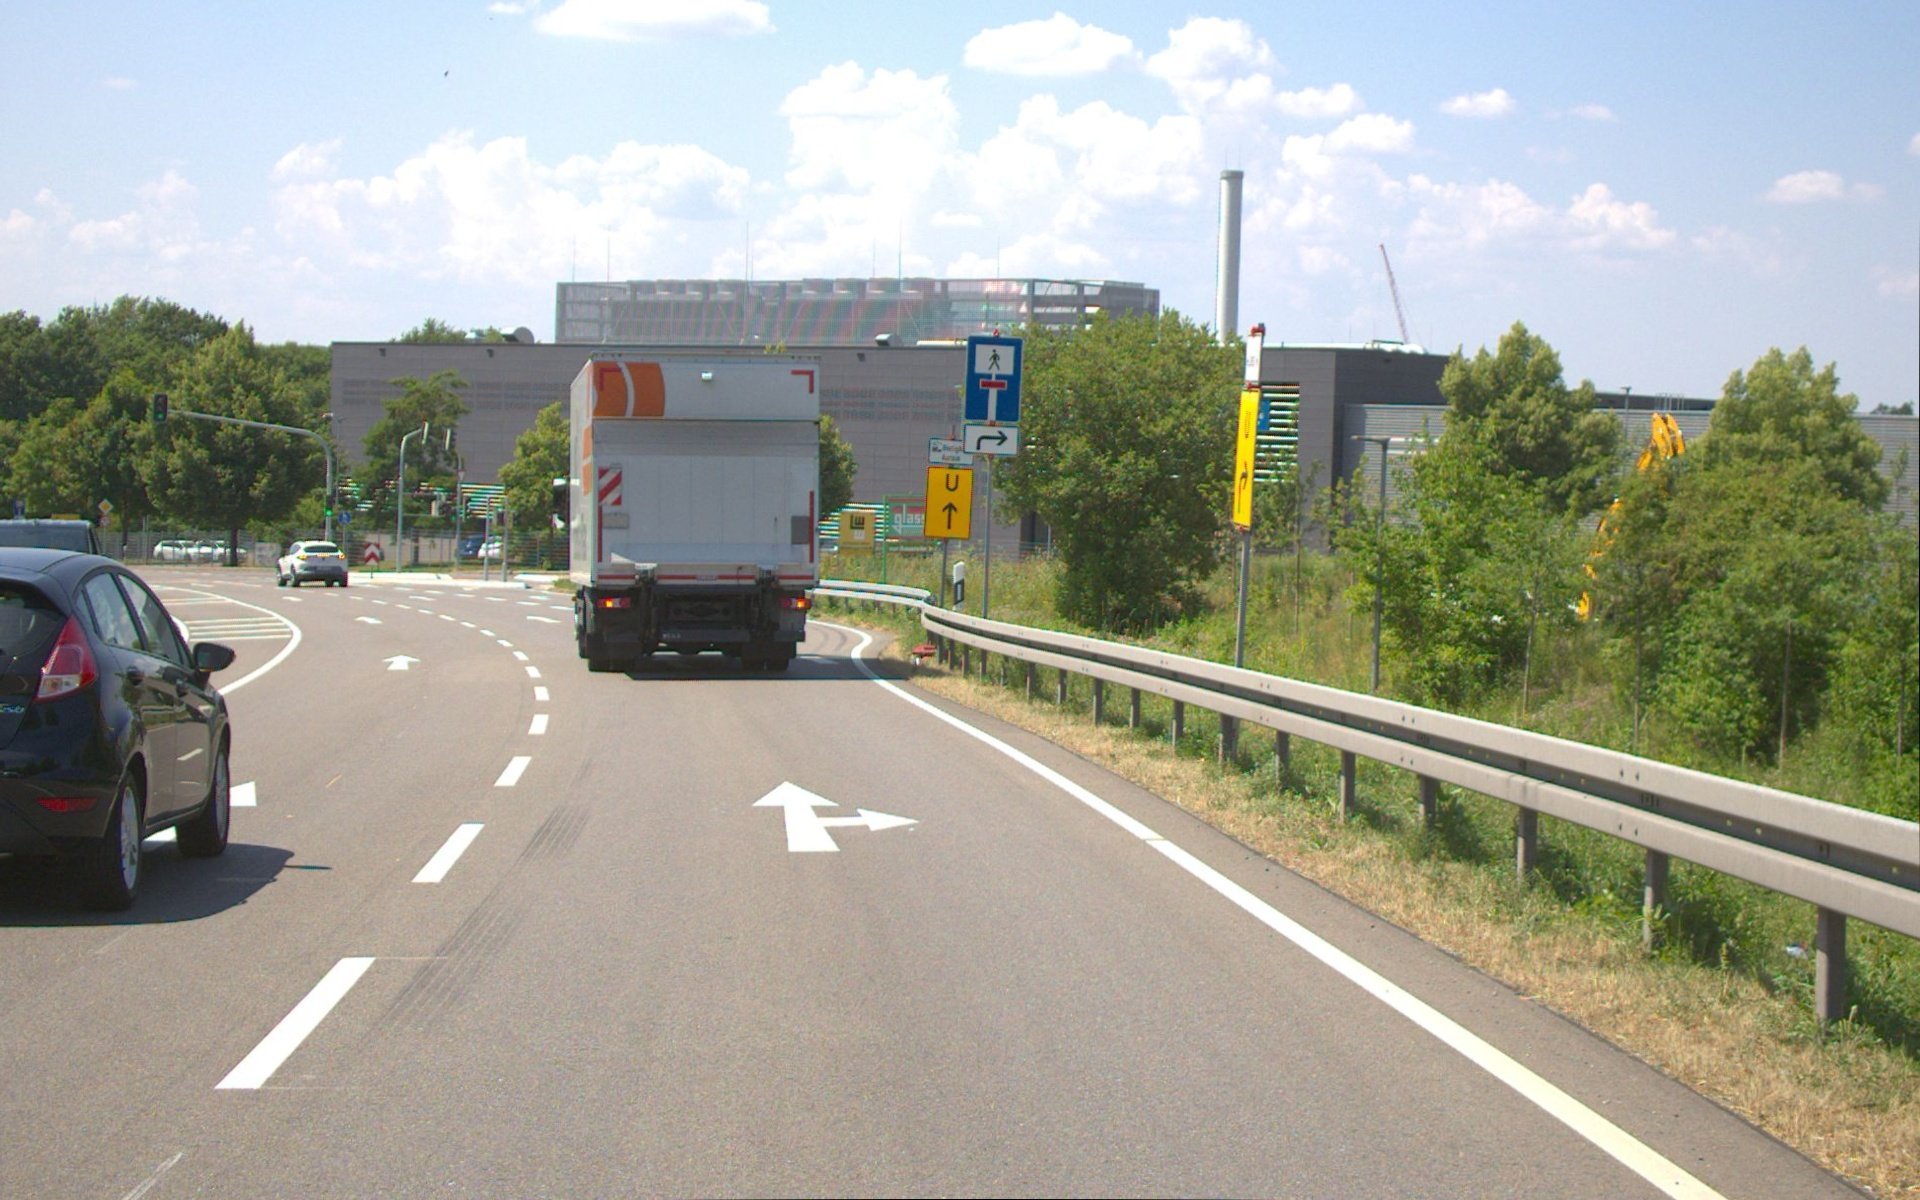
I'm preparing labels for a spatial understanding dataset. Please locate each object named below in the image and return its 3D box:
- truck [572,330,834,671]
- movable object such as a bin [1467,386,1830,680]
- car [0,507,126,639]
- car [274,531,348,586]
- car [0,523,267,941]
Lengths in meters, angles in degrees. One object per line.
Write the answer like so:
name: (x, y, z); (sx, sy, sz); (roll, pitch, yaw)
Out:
truck: (-3.285, -1.224, 42.363); (2.803, 3.698, 9.110); (1, 2, -6)
movable object such as a bin: (13.345, -1.489, 67.762); (3.423, 5.242, 9.233); (2, 3, -12)
car: (-13.891, -0.444, 51.845); (1.993, 1.888, 5.105); (0, 1, -7)
car: (-21.463, -1.388, 113.625); (1.943, 1.658, 4.001); (3, 1, -16)
car: (-4.189, 0.454, 15.155); (1.653, 1.488, 4.209); (1, 2, -4)
